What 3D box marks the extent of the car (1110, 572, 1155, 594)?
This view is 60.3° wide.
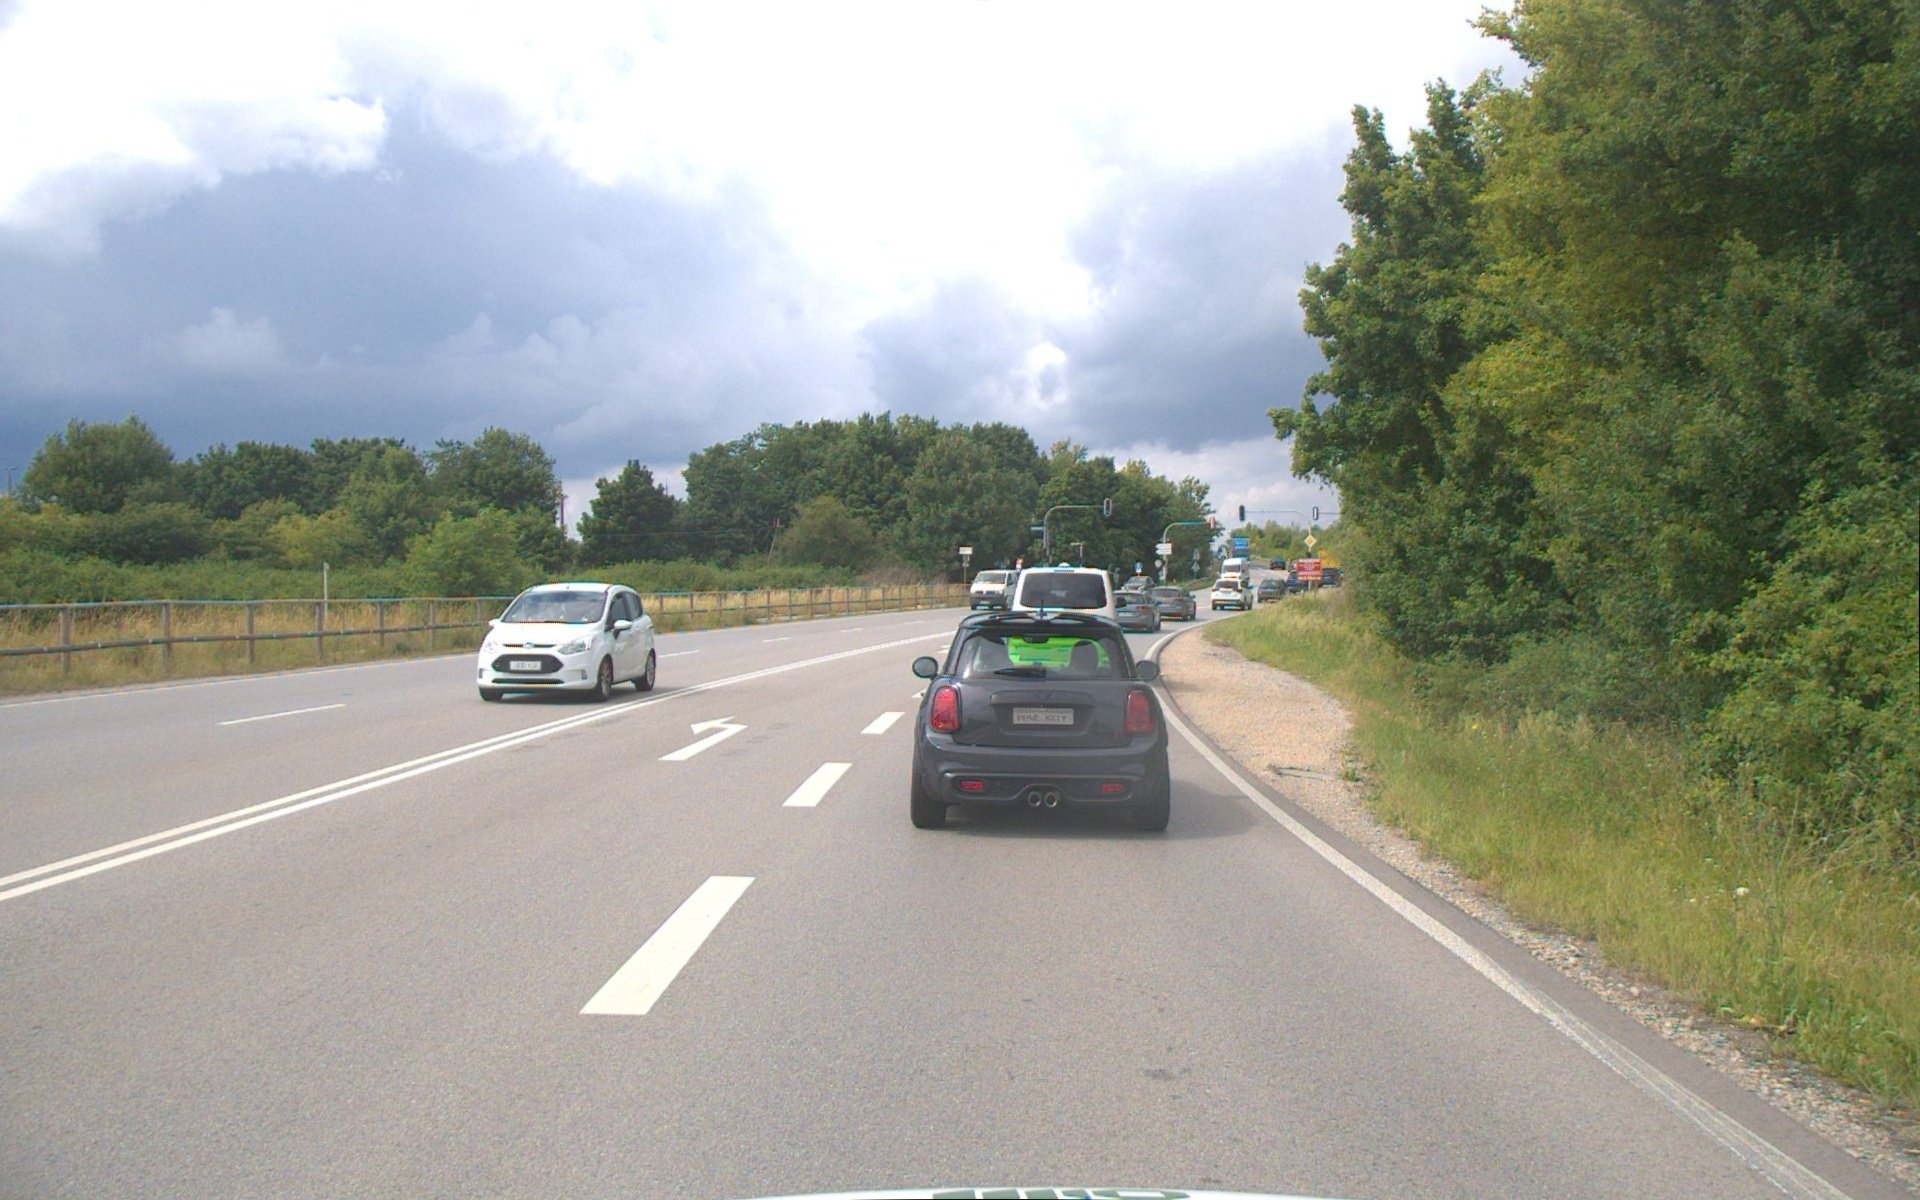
[{"bbox_3d":[12.204,-1.204,116.898,1.773,1.467,4.350,1,1,26],"label":"car"}]

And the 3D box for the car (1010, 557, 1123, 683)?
[{"bbox_3d":[1.817,0.319,28.829,1.806,2.021,3.842,1,0,2],"label":"car"}]

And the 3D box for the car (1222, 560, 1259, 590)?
[{"bbox_3d":[26.224,-2.316,154.358,2.383,2.721,6.891,1,1,19],"label":"car"}]

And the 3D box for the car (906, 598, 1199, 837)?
[{"bbox_3d":[0.587,0.744,12.229,1.807,1.453,3.841,1,0,0],"label":"car"}]

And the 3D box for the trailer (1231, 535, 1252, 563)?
[{"bbox_3d":[42.095,-7.625,247.547,2.473,4.172,6.740,0,1,15],"label":"trailer"}]

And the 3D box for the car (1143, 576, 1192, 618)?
[{"bbox_3d":[9.027,-0.116,71.818,1.951,1.713,3.980,2,0,9],"label":"car"}]

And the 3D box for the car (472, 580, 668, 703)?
[{"bbox_3d":[-5.395,0.529,23.376,1.694,1.544,4.001,2,0,2],"label":"car"}]

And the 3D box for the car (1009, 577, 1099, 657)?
[{"bbox_3d":[2.184,0.384,38.336,1.952,1.713,4.001,1,0,3],"label":"car"}]

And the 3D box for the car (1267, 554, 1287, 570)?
[{"bbox_3d":[43.314,-5.155,226.034,1.952,2.049,4.001,1,0,2],"label":"car"}]

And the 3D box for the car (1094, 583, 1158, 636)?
[{"bbox_3d":[5.713,0.325,57.351,1.952,1.713,4.001,2,0,3],"label":"car"}]

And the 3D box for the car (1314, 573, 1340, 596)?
[{"bbox_3d":[30.462,-1.260,137.363,1.951,1.725,4.489,2,0,14],"label":"car"}]

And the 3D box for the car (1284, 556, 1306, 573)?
[{"bbox_3d":[42.096,-4.446,207.971,2.135,2.049,4.002,1,0,4],"label":"car"}]

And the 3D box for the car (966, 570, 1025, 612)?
[{"bbox_3d":[1.833,-0.455,83.908,1.951,2.049,4.671,1,1,14],"label":"car"}]

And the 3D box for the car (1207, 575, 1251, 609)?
[{"bbox_3d":[14.391,-0.400,88.436,1.951,1.713,4.003,2,0,14],"label":"car"}]

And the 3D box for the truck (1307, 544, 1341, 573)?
[{"bbox_3d":[38.545,-4.405,175.472,2.659,2.948,8.778,0,1,7],"label":"truck"}]

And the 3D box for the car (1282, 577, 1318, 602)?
[{"bbox_3d":[24.615,-0.796,119.743,1.952,1.725,4.487,1,1,20],"label":"car"}]

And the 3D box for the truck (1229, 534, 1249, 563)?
[{"bbox_3d":[41.165,-7.578,244.110,2.486,4.167,4.003,0,1,15],"label":"truck"}]

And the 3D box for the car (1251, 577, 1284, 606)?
[{"bbox_3d":[19.213,-0.528,103.311,1.951,1.713,4.003,2,0,11],"label":"car"}]
